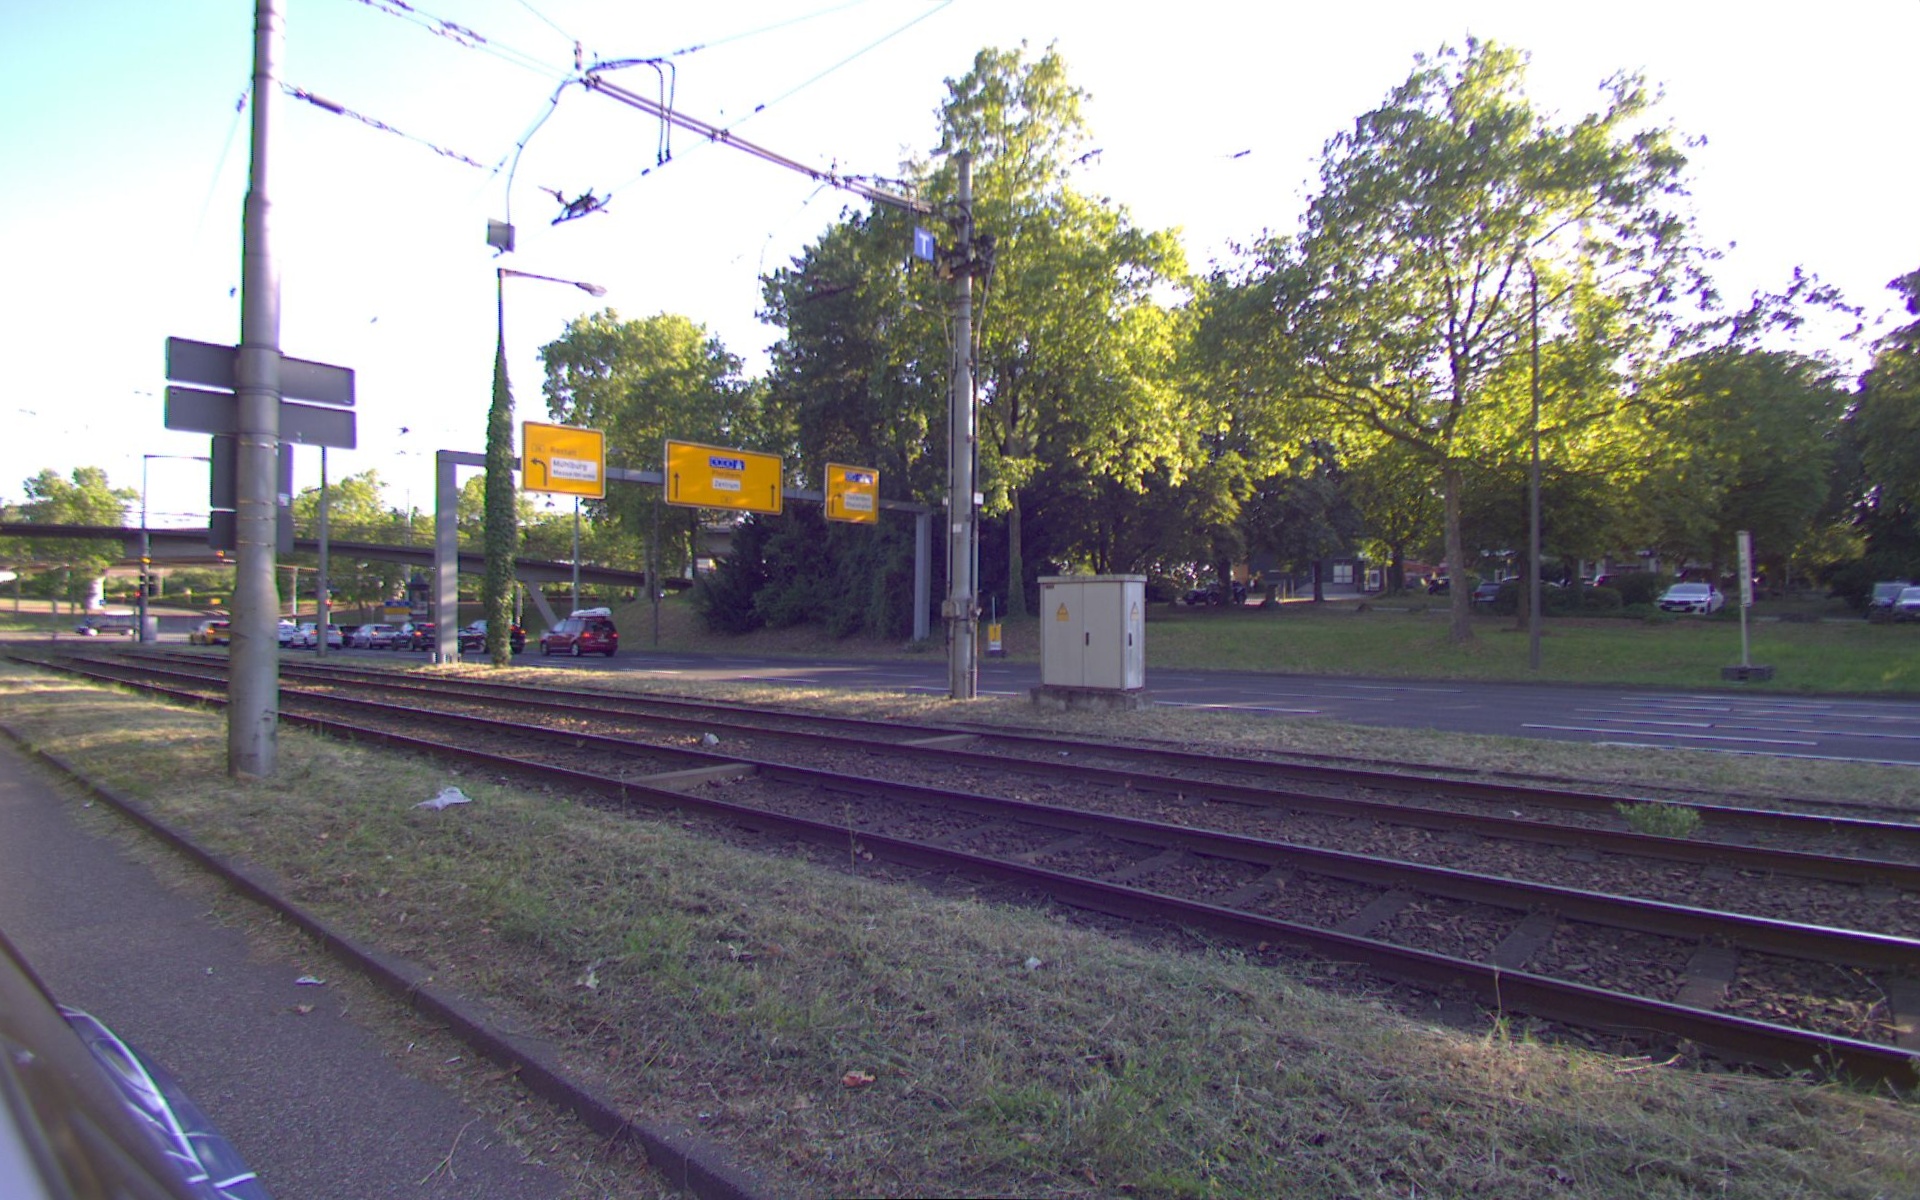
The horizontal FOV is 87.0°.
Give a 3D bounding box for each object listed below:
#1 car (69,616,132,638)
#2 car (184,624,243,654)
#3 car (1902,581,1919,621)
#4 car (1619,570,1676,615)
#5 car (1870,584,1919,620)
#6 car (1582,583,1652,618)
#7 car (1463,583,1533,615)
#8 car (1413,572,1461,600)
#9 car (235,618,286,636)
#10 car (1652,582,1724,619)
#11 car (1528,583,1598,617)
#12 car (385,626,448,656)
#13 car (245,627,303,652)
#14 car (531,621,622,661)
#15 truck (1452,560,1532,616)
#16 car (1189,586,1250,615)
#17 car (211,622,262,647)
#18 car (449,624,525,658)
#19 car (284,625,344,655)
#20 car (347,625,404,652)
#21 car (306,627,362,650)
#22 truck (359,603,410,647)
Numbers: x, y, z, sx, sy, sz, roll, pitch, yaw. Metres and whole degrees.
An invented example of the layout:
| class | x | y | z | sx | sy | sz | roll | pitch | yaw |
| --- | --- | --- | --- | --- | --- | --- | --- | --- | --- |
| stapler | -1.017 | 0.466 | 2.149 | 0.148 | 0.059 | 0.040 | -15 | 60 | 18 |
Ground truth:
| class | x | y | z | sx | sy | sz | roll | pitch | yaw |
| --- | --- | --- | --- | --- | --- | --- | --- | --- | --- |
| car | -73.455 | 2.314 | 86.575 | 1.668 | 1.779 | 3.779 | 0 | 0 | 26 |
| car | -40.805 | 2.113 | 55.262 | 3.997 | 1.556 | 1.744 | -1 | -1 | 40 |
| car | 37.578 | 0.020 | 38.896 | 1.942 | 1.521 | 4.039 | 0 | 0 | 44 |
| car | 36.884 | -0.419 | 54.243 | 2.161 | 2.320 | 4.348 | 0 | 0 | 40 |
| car | 43.967 | 0.076 | 47.229 | 3.998 | 1.628 | 1.864 | -1 | 0 | -43 |
| car | 30.033 | -0.010 | 46.224 | 1.942 | 1.521 | 4.039 | 0 | 0 | 44 |
| car | 26.168 | -0.060 | 49.190 | 1.942 | 1.521 | 4.039 | 0 | 0 | 44 |
| car | 33.555 | -1.015 | 71.065 | 2.290 | 1.864 | 5.214 | -1 | 1 | 34 |
| car | -66.361 | 2.516 | 96.053 | 3.747 | 1.591 | 1.683 | -1 | 0 | -26 |
| car | 31.560 | -0.013 | 43.848 | 1.942 | 1.521 | 4.039 | 0 | 0 | 44 |
| car | 28.424 | -0.001 | 47.661 | 1.942 | 1.521 | 4.039 | 0 | 0 | 44 |
| car | -29.332 | 2.188 | 54.552 | 3.971 | 1.569 | 1.733 | -2 | -2 | 42 |
| car | -40.766 | 2.315 | 60.135 | 4.226 | 1.435 | 1.893 | -1 | -1 | 42 |
| car | -16.546 | 1.748 | 43.595 | 4.308 | 1.647 | 1.818 | -1 | -2 | 40 |
| truck | 31.741 | -0.707 | 60.288 | 2.503 | 3.191 | 6.137 | 0 | 0 | 45 |
| car | 15.394 | 0.045 | 59.961 | 1.791 | 1.657 | 3.942 | -1 | -1 | 44 |
| car | -45.839 | 2.172 | 64.051 | 4.228 | 1.561 | 1.892 | -1 | -2 | 44 |
| car | -22.792 | 1.952 | 48.679 | 4.332 | 1.556 | 1.713 | -1 | -2 | 41 |
| car | -35.742 | 2.194 | 55.962 | 3.997 | 1.556 | 1.744 | -1 | -1 | 40 |
| car | -34.936 | 2.282 | 60.450 | 3.998 | 1.556 | 1.789 | -1 | -1 | 41 |
| car | -39.763 | 2.426 | 64.235 | 4.224 | 1.435 | 1.844 | -1 | -1 | 40 |
| truck | -40.304 | 1.728 | 70.774 | 2.248 | 2.901 | 6.895 | 0 | -1 | -37 |
